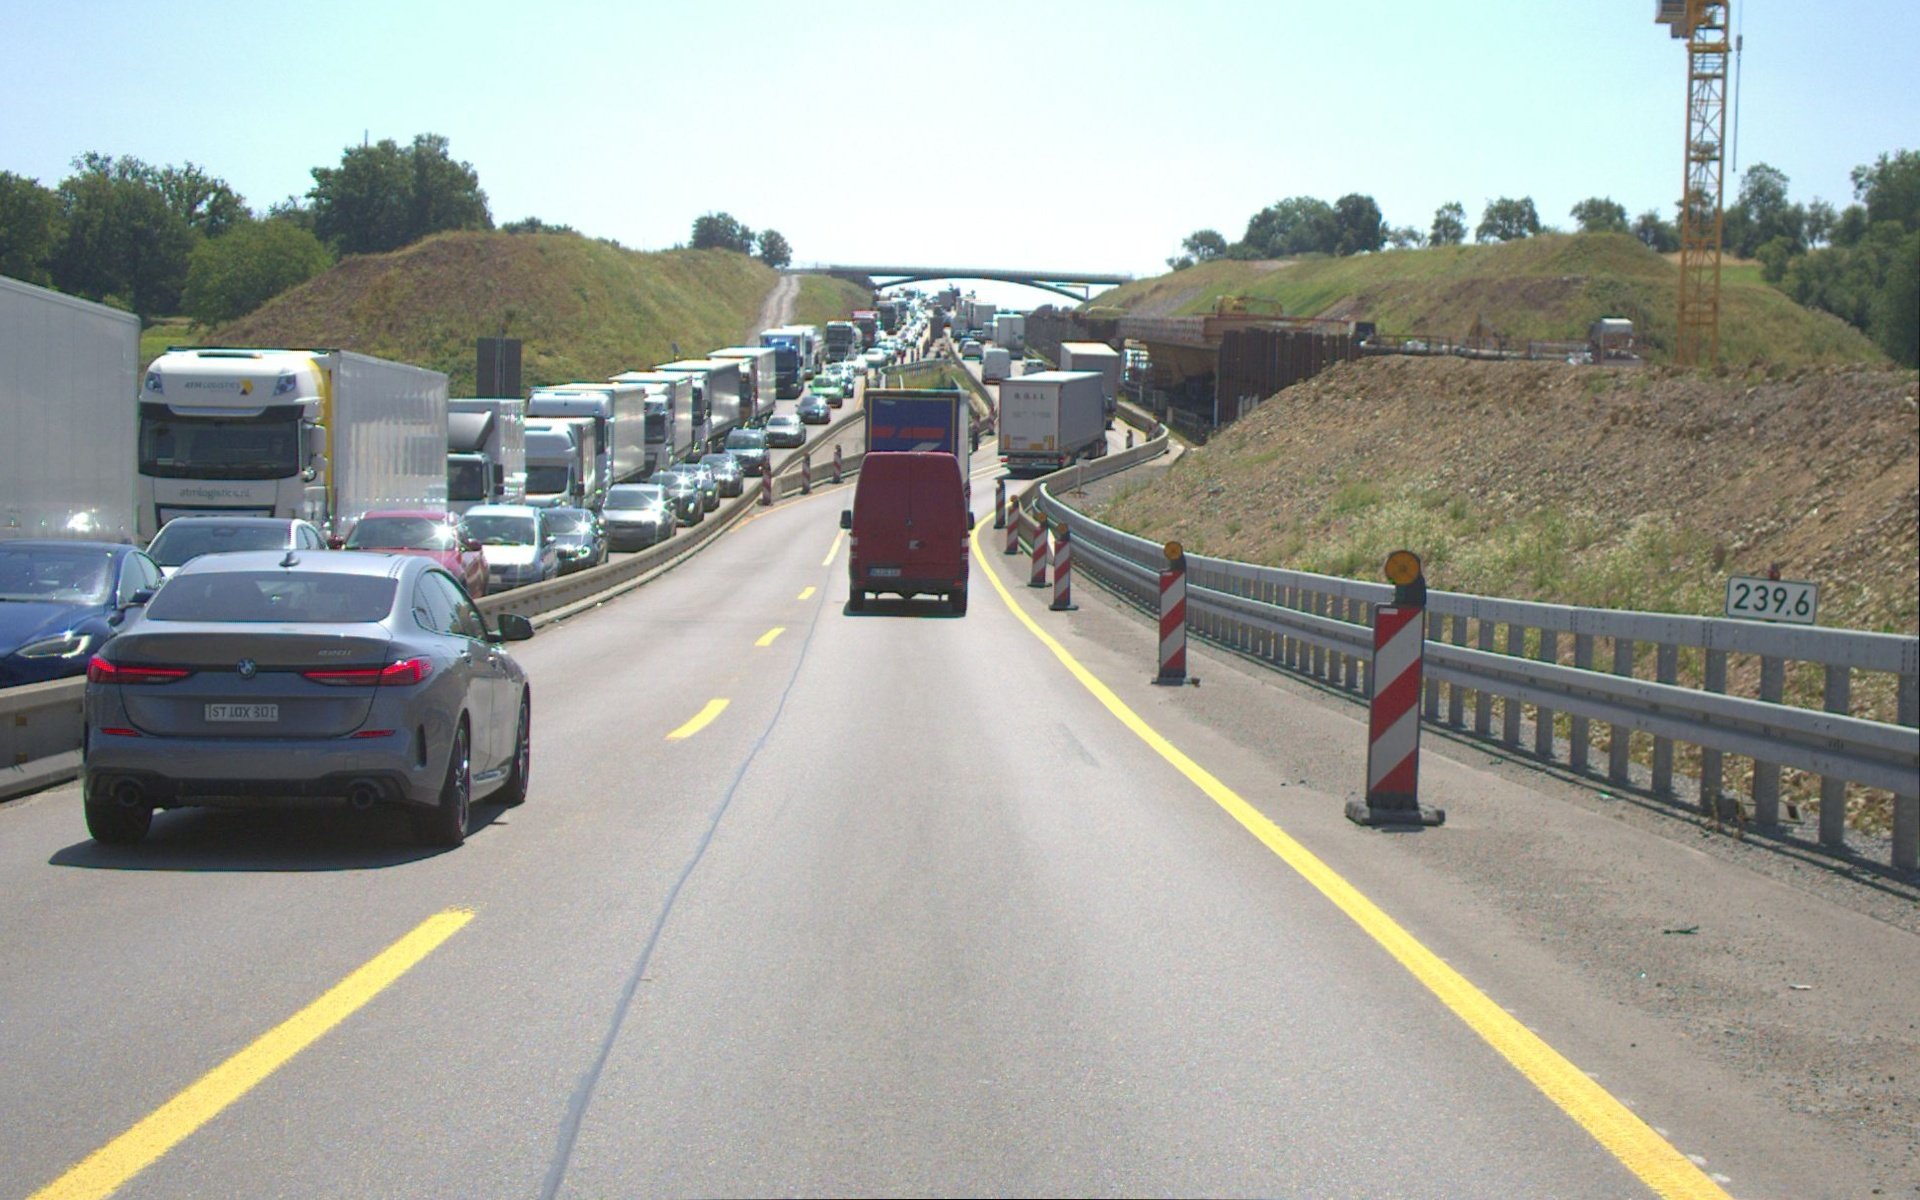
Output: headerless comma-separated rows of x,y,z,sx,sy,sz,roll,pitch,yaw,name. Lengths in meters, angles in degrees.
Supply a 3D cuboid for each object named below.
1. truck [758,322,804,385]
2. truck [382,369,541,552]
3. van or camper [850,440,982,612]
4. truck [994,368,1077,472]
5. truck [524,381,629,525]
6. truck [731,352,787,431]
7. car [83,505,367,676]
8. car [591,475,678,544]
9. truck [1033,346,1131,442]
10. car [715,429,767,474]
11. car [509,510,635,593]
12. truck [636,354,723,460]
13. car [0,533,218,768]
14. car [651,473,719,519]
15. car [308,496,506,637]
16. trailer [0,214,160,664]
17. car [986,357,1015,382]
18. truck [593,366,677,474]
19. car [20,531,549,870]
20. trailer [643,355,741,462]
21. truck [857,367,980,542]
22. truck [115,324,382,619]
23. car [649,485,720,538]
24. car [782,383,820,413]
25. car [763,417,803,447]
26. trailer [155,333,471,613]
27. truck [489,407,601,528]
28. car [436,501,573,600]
-11.606,-15.954,223.017,2.887,3.825,8.004,1,3,-3,truck
-11.152,-3.151,77.611,2.524,3.842,8.673,1,2,-2,truck
-0.782,-1.302,57.830,2.029,2.734,4.516,1,3,-3,van or camper
3.171,-7.448,142.994,3.039,4.086,7.084,0,1,5,truck
-11.663,-4.519,104.948,2.550,4.216,6.531,1,3,-1,truck
-10.057,-10.420,172.573,2.683,3.825,7.388,1,3,-3,truck
-7.377,-0.137,34.993,1.993,1.615,4.883,0,1,-2,car
-8.130,-2.246,86.203,1.827,1.645,4.547,-1,1,-1,car
6.765,-11.404,191.985,5.160,4.979,13.877,-1,2,2,truck
-8.865,-6.009,139.334,1.993,1.776,4.001,1,3,-2,car
-7.552,-0.963,67.315,1.993,1.551,4.339,1,1,0,car
-12.045,-8.301,148.150,3.052,4.465,5.980,1,3,2,truck
-7.016,0.297,26.035,1.812,1.432,5.122,2,2,-2,car
-9.025,-3.444,113.078,1.902,1.371,4.547,-2,3,-1,car
-7.394,-0.499,46.387,1.993,1.625,4.759,2,3,-2,car
-10.904,-1.588,33.592,3.140,4.368,14.080,1,2,-1,trailer
2.982,-17.050,254.290,1.952,1.635,4.268,1,1,-1,car
-12.147,-6.710,128.765,2.782,3.856,5.462,1,1,-2,truck
-3.329,0.406,17.870,1.851,1.447,4.743,1,2,-1,car
-11.935,-8.541,153.986,3.042,4.536,12.128,1,3,2,trailer
-1.215,-4.101,96.374,3.020,4.676,6.934,-1,3,-4,truck
-10.688,-1.937,52.199,2.977,4.170,5.875,1,2,-2,truck
-8.197,-2.630,102.446,1.827,1.530,4.547,1,1,-1,car
-8.647,-10.981,187.174,1.952,1.524,4.268,1,3,-1,car
-8.392,-7.965,163.275,1.747,1.404,4.001,1,3,-1,car
-10.827,-2.160,59.182,2.986,4.194,13.948,1,2,-1,trailer
-11.162,-3.651,92.965,2.433,3.137,7.025,0,3,-2,truck
-7.538,-0.842,57.164,1.827,1.568,4.000,1,1,-1,car
